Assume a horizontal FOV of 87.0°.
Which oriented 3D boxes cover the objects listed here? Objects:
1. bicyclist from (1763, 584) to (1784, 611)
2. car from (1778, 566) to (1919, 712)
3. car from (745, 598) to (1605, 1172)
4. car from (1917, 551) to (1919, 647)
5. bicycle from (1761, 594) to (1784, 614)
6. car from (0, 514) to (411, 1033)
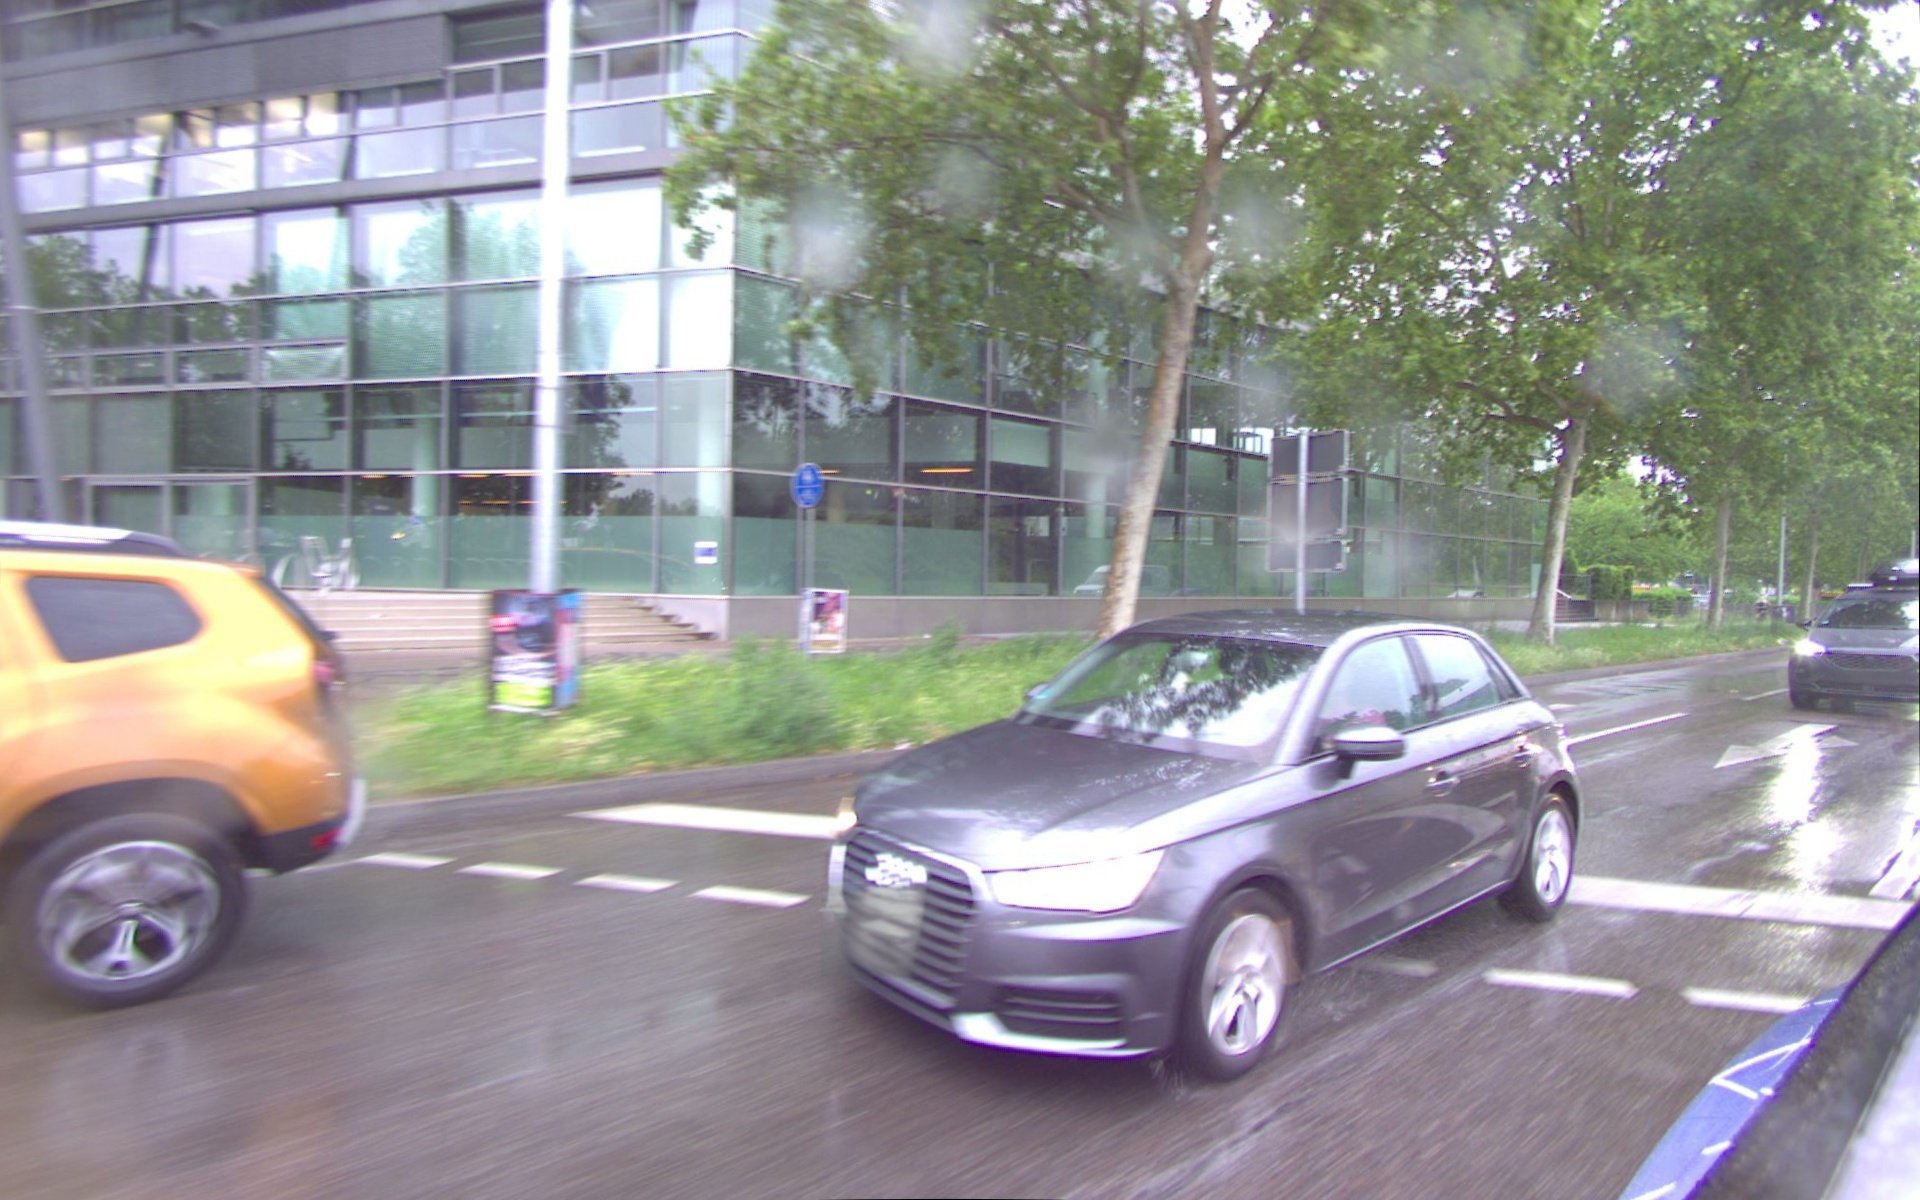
[{"bbox_3d":[48.880,-0.148,60.824,0.739,1.533,0.806,-1,4,-43],"label":"bicyclist"},{"bbox_3d":[13.173,0.481,14.097,4.251,1.770,1.998,0,1,-41],"label":"car"},{"bbox_3d":[1.153,0.704,4.429,3.687,1.416,1.839,0,0,-41],"label":"car"},{"bbox_3d":[27.064,0.013,26.777,4.890,2.460,1.998,0,2,-41],"label":"car"},{"bbox_3d":[48.861,0.228,60.848,2.042,1.118,0.744,0,3,-43],"label":"bicycle"},{"bbox_3d":[-4.323,0.525,3.357,4.097,1.652,1.904,0,2,-41],"label":"car"}]
